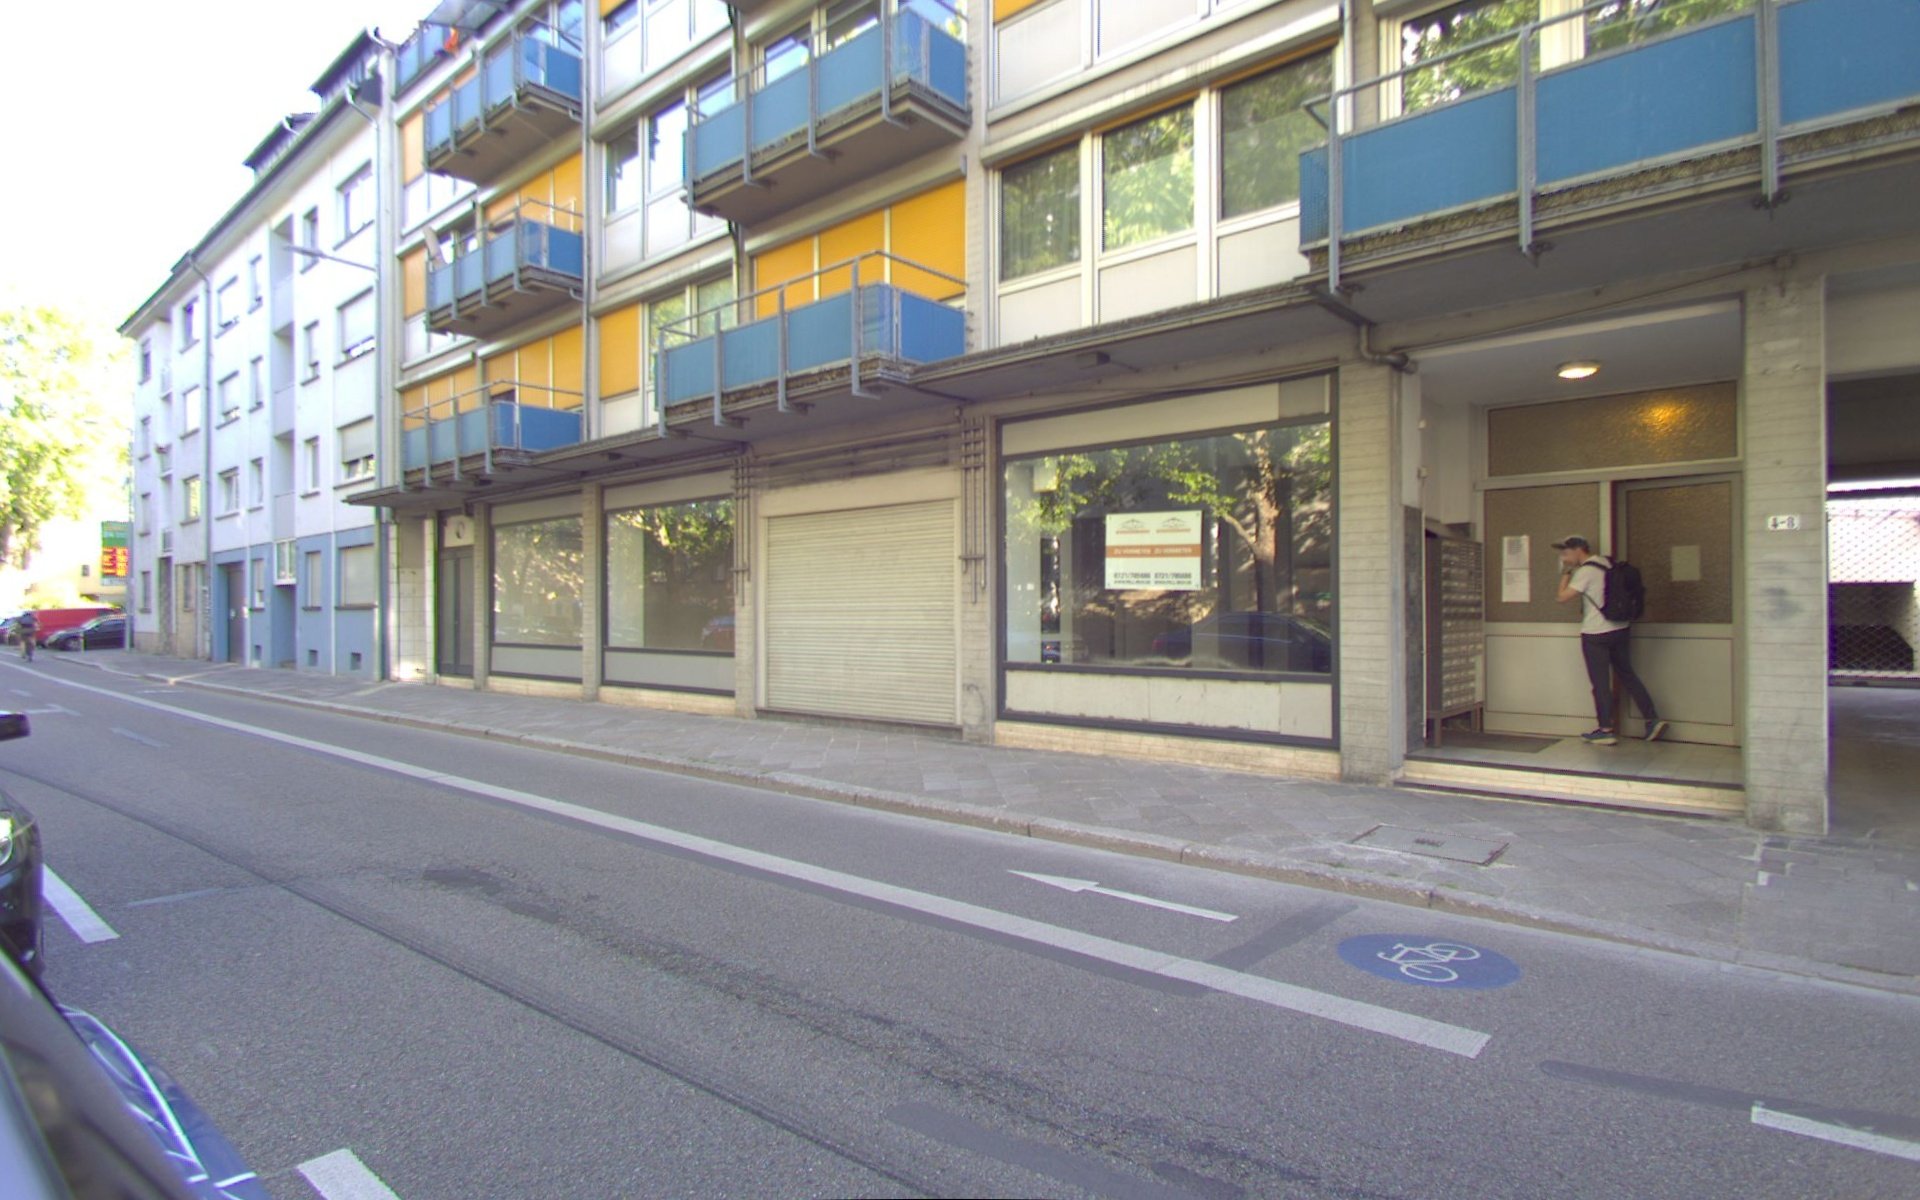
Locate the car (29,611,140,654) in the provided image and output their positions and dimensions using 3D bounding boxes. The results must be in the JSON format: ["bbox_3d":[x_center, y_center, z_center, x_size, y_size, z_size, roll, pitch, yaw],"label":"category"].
[{"bbox_3d":[-43.445,1.577,50.268,2.000,1.962,3.944,-1,0,42],"label":"car"}]

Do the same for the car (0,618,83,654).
[{"bbox_3d":[-53.535,2.040,58.629,2.000,1.962,3.944,-1,0,42],"label":"car"}]

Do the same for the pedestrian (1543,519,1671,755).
[{"bbox_3d":[5.496,0.296,8.608,0.573,1.894,0.787,-1,0,-44],"label":"pedestrian"}]

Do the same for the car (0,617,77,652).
[{"bbox_3d":[-55.616,2.067,60.582,2.000,1.962,3.944,-1,0,42],"label":"car"}]

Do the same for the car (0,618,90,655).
[{"bbox_3d":[-51.585,2.015,56.846,2.000,1.962,3.944,-1,0,42],"label":"car"}]

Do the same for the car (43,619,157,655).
[{"bbox_3d":[-41.190,1.747,48.543,2.000,1.564,3.944,-1,0,42],"label":"car"}]

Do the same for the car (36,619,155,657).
[{"bbox_3d":[-39.772,1.728,46.621,2.000,1.564,3.944,-1,0,42],"label":"car"}]

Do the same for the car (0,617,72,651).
[{"bbox_3d":[-57.422,2.090,62.299,2.000,1.962,3.944,-1,0,42],"label":"car"}]

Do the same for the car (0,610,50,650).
[{"bbox_3d":[-62.813,1.961,66.802,2.000,2.538,3.944,-1,0,42],"label":"car"}]

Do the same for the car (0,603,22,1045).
[{"bbox_3d":[-5.538,0.807,4.295,4.479,1.512,1.842,-1,-1,41],"label":"car"}]

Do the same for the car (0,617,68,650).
[{"bbox_3d":[-59.222,2.114,64.032,2.000,1.962,3.944,-1,0,42],"label":"car"}]
